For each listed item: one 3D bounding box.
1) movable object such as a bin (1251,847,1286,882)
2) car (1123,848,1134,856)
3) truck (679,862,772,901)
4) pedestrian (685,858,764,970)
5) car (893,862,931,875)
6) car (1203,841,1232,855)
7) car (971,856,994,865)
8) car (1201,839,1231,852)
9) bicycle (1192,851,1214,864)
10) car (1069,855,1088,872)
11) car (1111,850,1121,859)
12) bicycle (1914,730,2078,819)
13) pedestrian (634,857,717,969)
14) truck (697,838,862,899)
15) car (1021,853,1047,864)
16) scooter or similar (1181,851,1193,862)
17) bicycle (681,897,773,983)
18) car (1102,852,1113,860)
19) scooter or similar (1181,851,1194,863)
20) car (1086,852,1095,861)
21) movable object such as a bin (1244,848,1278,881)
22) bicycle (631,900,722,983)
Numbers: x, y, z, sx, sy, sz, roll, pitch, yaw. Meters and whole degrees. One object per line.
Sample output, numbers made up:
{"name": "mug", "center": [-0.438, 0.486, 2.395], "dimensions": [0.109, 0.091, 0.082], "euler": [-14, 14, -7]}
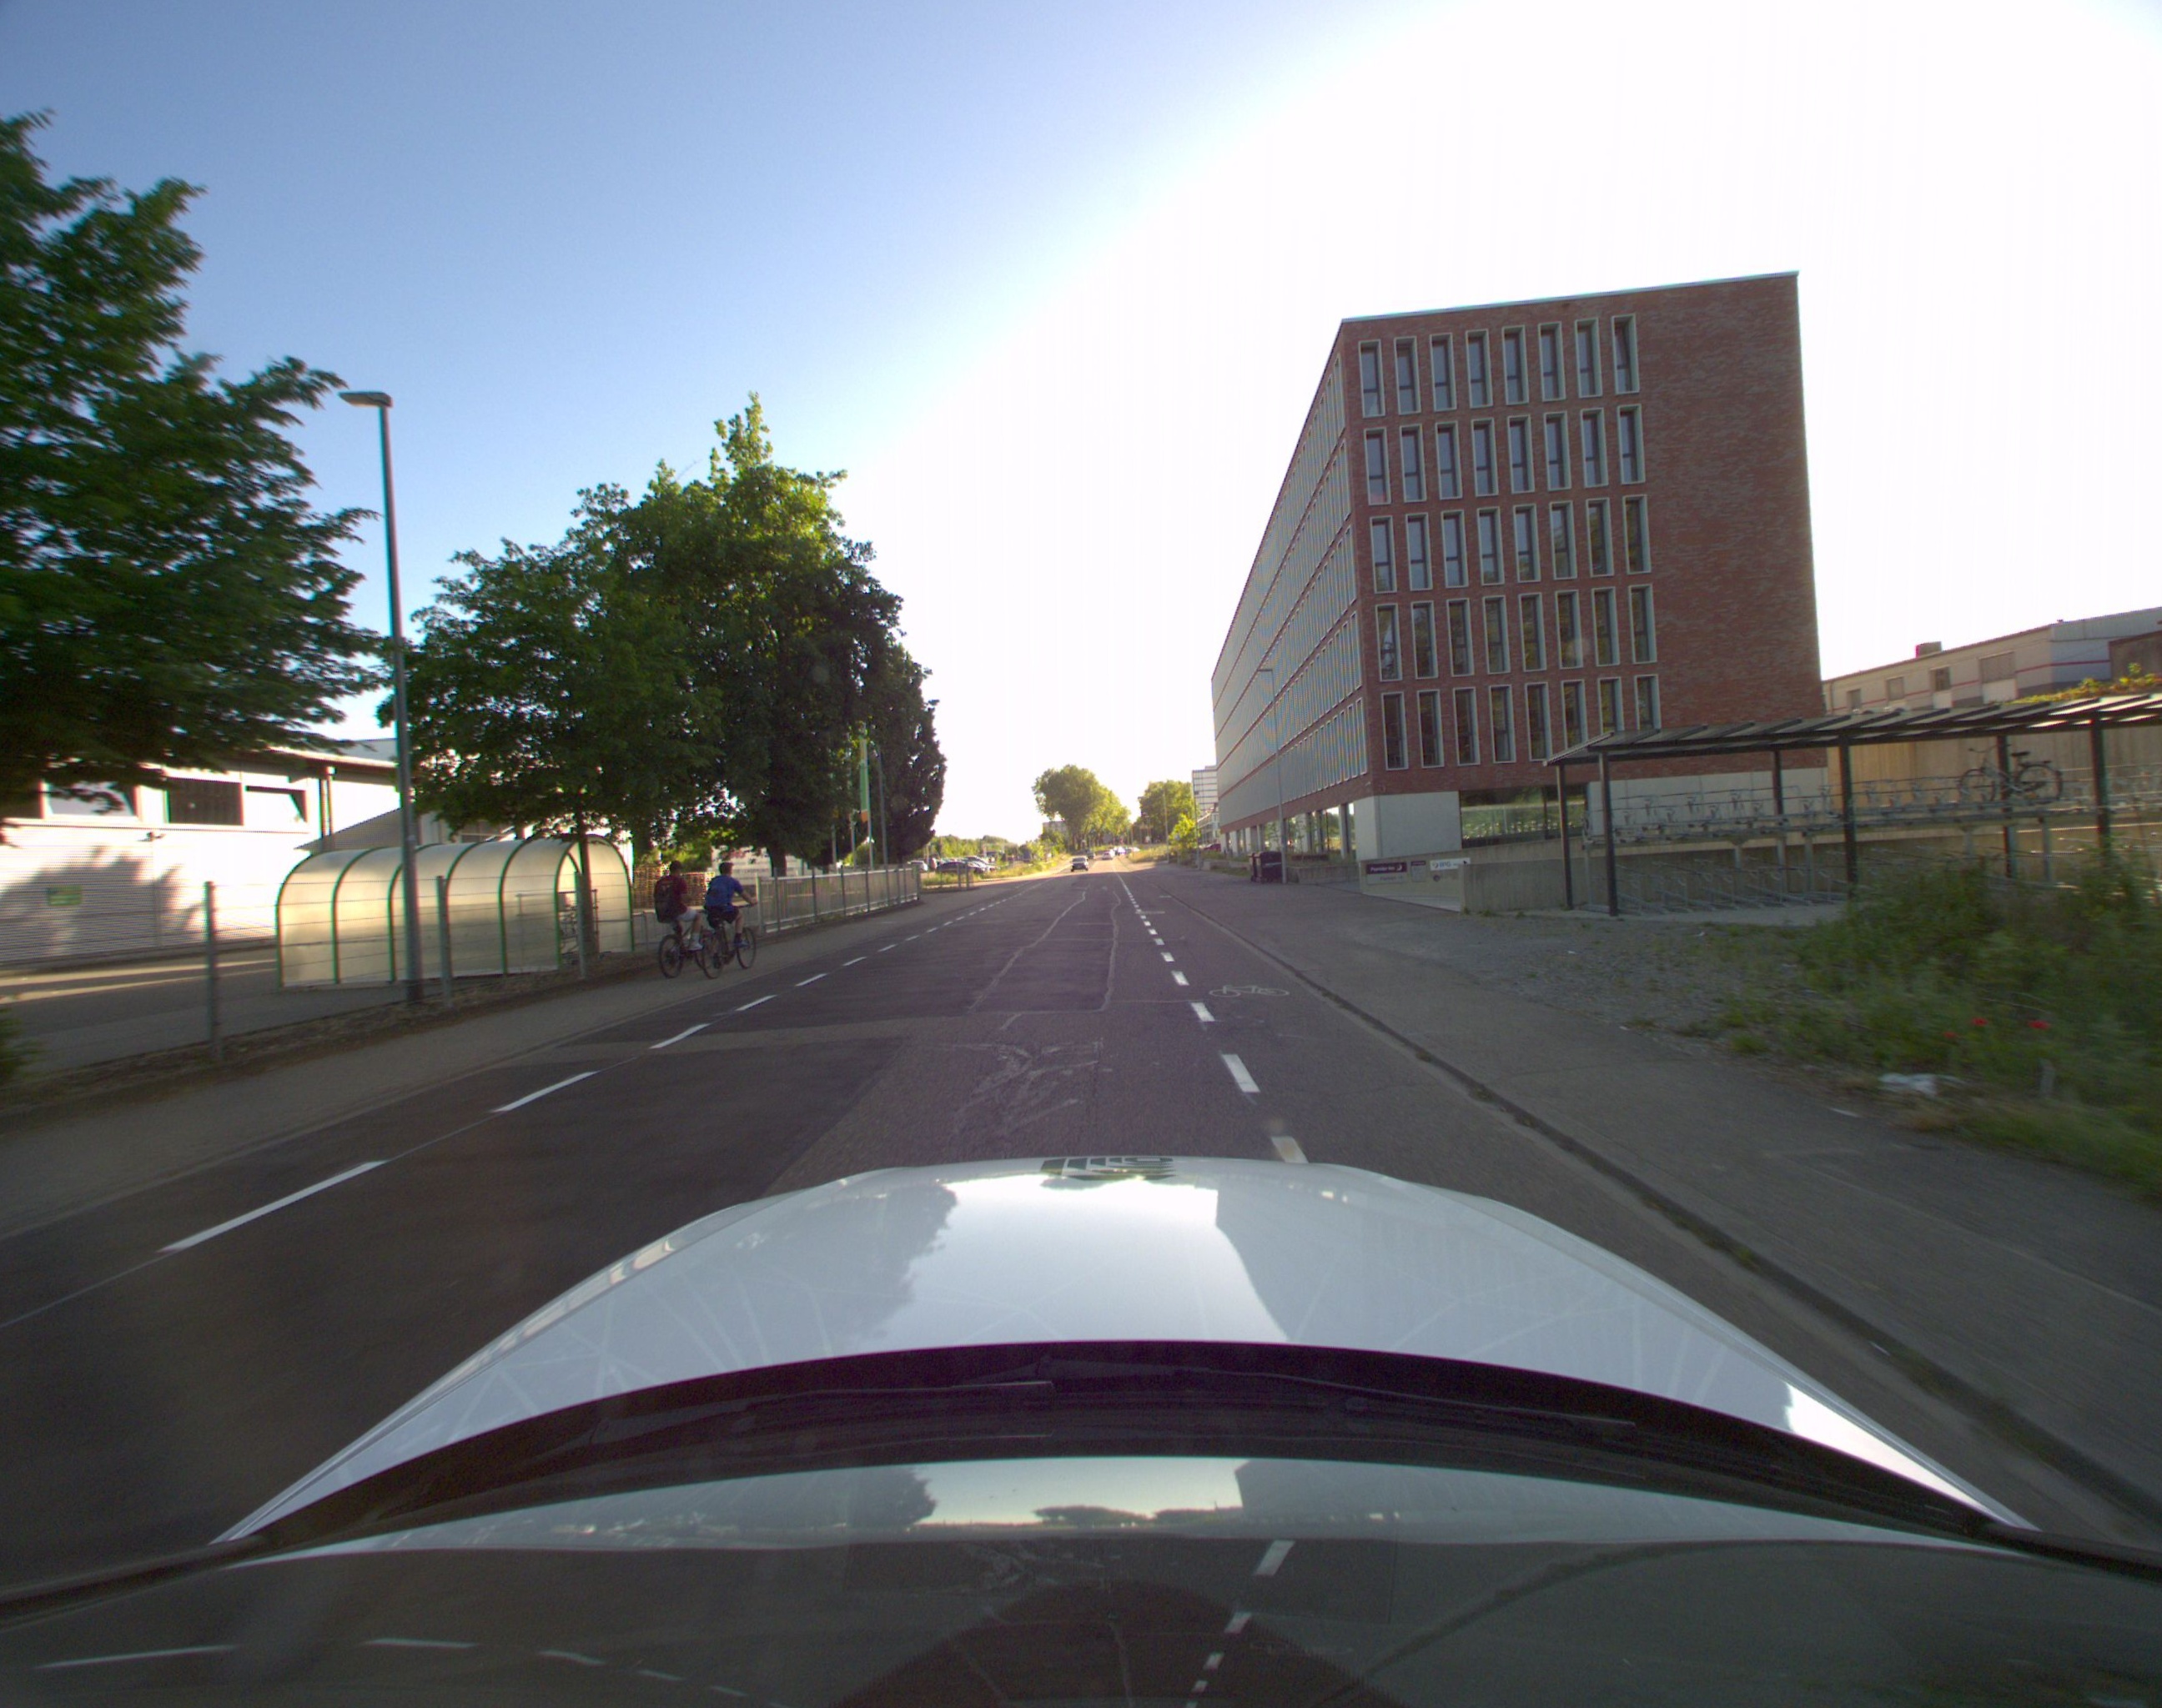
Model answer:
{"name": "movable object such as a bin", "center": [7.879, 0.436, 34.247], "dimensions": [1.124, 1.371, 1.345], "euler": [-3, 0, 1]}
{"name": "car", "center": [10.560, -0.435, 180.044], "dimensions": [2.153, 1.684, 4.005], "euler": [-3, 0, 4]}
{"name": "truck", "center": [-29.255, 2.244, 67.155], "dimensions": [6.474, 2.807, 2.316], "euler": [-3, 0, 0]}
{"name": "pedestrian", "center": [-5.817, 0.947, 13.354], "dimensions": [0.718, 1.720, 1.058], "euler": [-3, 0, 2]}
{"name": "car", "center": [-21.940, 1.864, 105.804], "dimensions": [4.350, 1.545, 1.858], "euler": [-2, 0, 2]}
{"name": "car", "center": [20.749, -0.880, 124.170], "dimensions": [4.164, 1.581, 1.853], "euler": [-4, -8, 5]}
{"name": "car", "center": [-19.708, 1.388, 163.805], "dimensions": [4.307, 1.618, 1.878], "euler": [-2, 0, 0]}
{"name": "car", "center": [19.459, -1.241, 117.399], "dimensions": [4.164, 1.580, 1.854], "euler": [-2, 0, 5]}
{"name": "bicycle", "center": [11.465, 0.323, 76.583], "dimensions": [1.928, 1.170, 0.374], "euler": [-3, 0, -5]}
{"name": "car", "center": [-0.224, 0.950, 84.092], "dimensions": [1.734, 1.525, 4.113], "euler": [-7, 0, 1]}
{"name": "car", "center": [7.541, 0.130, 174.835], "dimensions": [2.155, 1.684, 4.003], "euler": [-3, 0, 3]}
{"name": "bicycle", "center": [16.029, -1.353, 14.357], "dimensions": [0.628, 1.321, 1.991], "euler": [-2, -1, 2]}
{"name": "pedestrian", "center": [-6.602, 0.926, 13.315], "dimensions": [0.718, 1.720, 1.058], "euler": [-3, 0, 2]}
{"name": "truck", "center": [-20.462, 0.998, 55.610], "dimensions": [10.064, 3.614, 2.776], "euler": [-2, -1, 0]}
{"name": "car", "center": [-9.162, 0.847, 157.784], "dimensions": [4.828, 1.834, 2.000], "euler": [-2, 0, 0]}
{"name": "scooter or similar", "center": [11.666, 0.324, 89.877], "dimensions": [1.237, 1.155, 0.366], "euler": [-3, 0, 6]}
{"name": "bicycle", "center": [-5.725, 1.350, 13.305], "dimensions": [0.444, 1.148, 2.202], "euler": [-2, 0, 2]}
{"name": "car", "center": [4.763, 0.384, 145.753], "dimensions": [1.782, 1.420, 4.003], "euler": [-3, 0, 3]}
{"name": "scooter or similar", "center": [11.573, 0.308, 88.321], "dimensions": [1.334, 1.245, 0.424], "euler": [-3, 0, 6]}
{"name": "car", "center": [1.815, 0.429, 153.573], "dimensions": [1.647, 1.503, 4.002], "euler": [-4, -1, 2]}
{"name": "movable object such as a bin", "center": [7.930, 0.455, 35.936], "dimensions": [1.124, 1.336, 1.345], "euler": [-3, 0, 1]}
{"name": "bicycle", "center": [-6.590, 1.383, 13.370], "dimensions": [0.468, 1.148, 1.870], "euler": [-2, 0, 2]}
